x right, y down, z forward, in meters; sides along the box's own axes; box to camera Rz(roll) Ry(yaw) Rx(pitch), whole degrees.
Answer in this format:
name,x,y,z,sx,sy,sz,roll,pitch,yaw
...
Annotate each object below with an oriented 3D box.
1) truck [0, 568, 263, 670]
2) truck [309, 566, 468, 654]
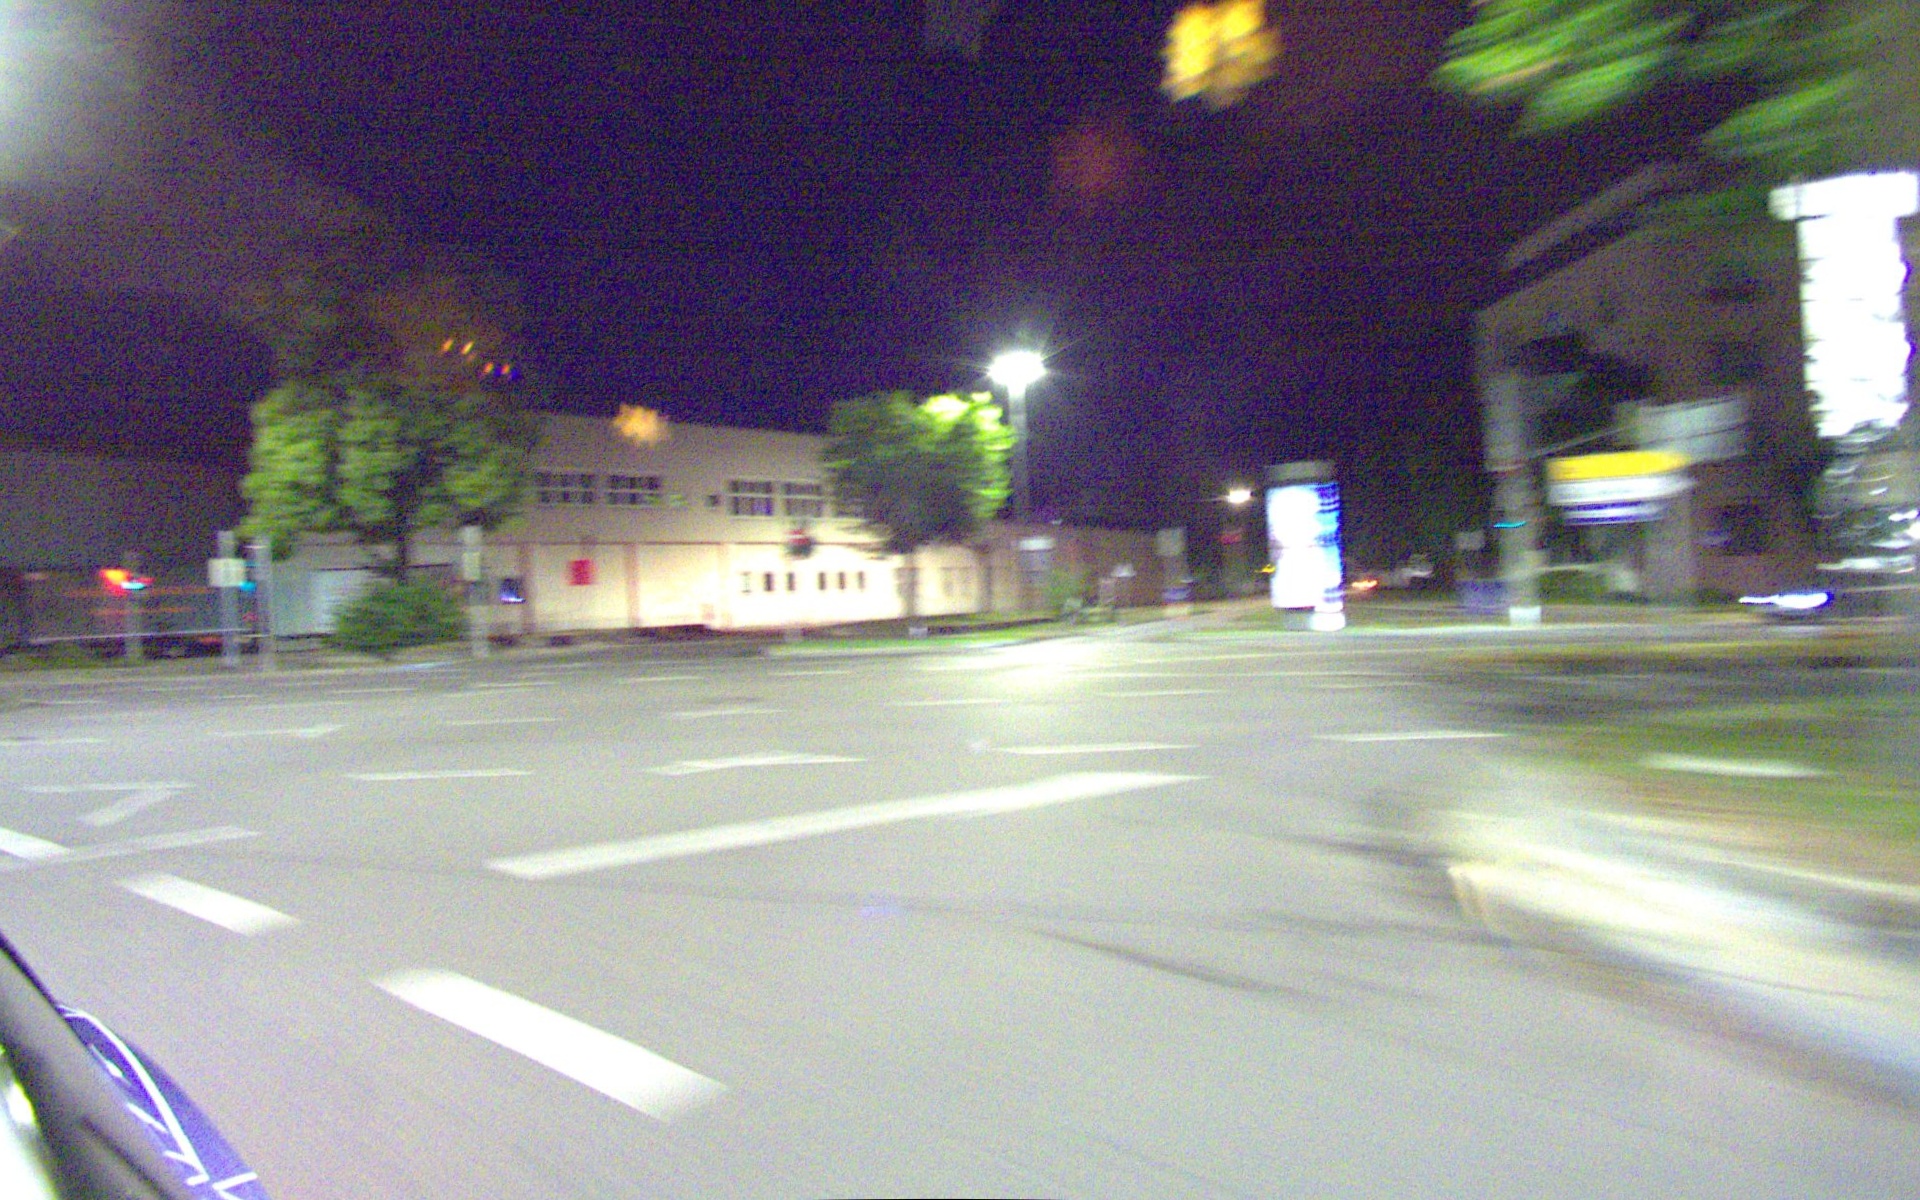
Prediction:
name,x,y,z,sx,sy,sz,roll,pitch,yaw
truck,-34.494,0.696,41.739,9.198,3.750,2.006,-2,0,-27
truck,-26.266,0.403,46.676,6.101,3.721,2.409,-3,1,-31
